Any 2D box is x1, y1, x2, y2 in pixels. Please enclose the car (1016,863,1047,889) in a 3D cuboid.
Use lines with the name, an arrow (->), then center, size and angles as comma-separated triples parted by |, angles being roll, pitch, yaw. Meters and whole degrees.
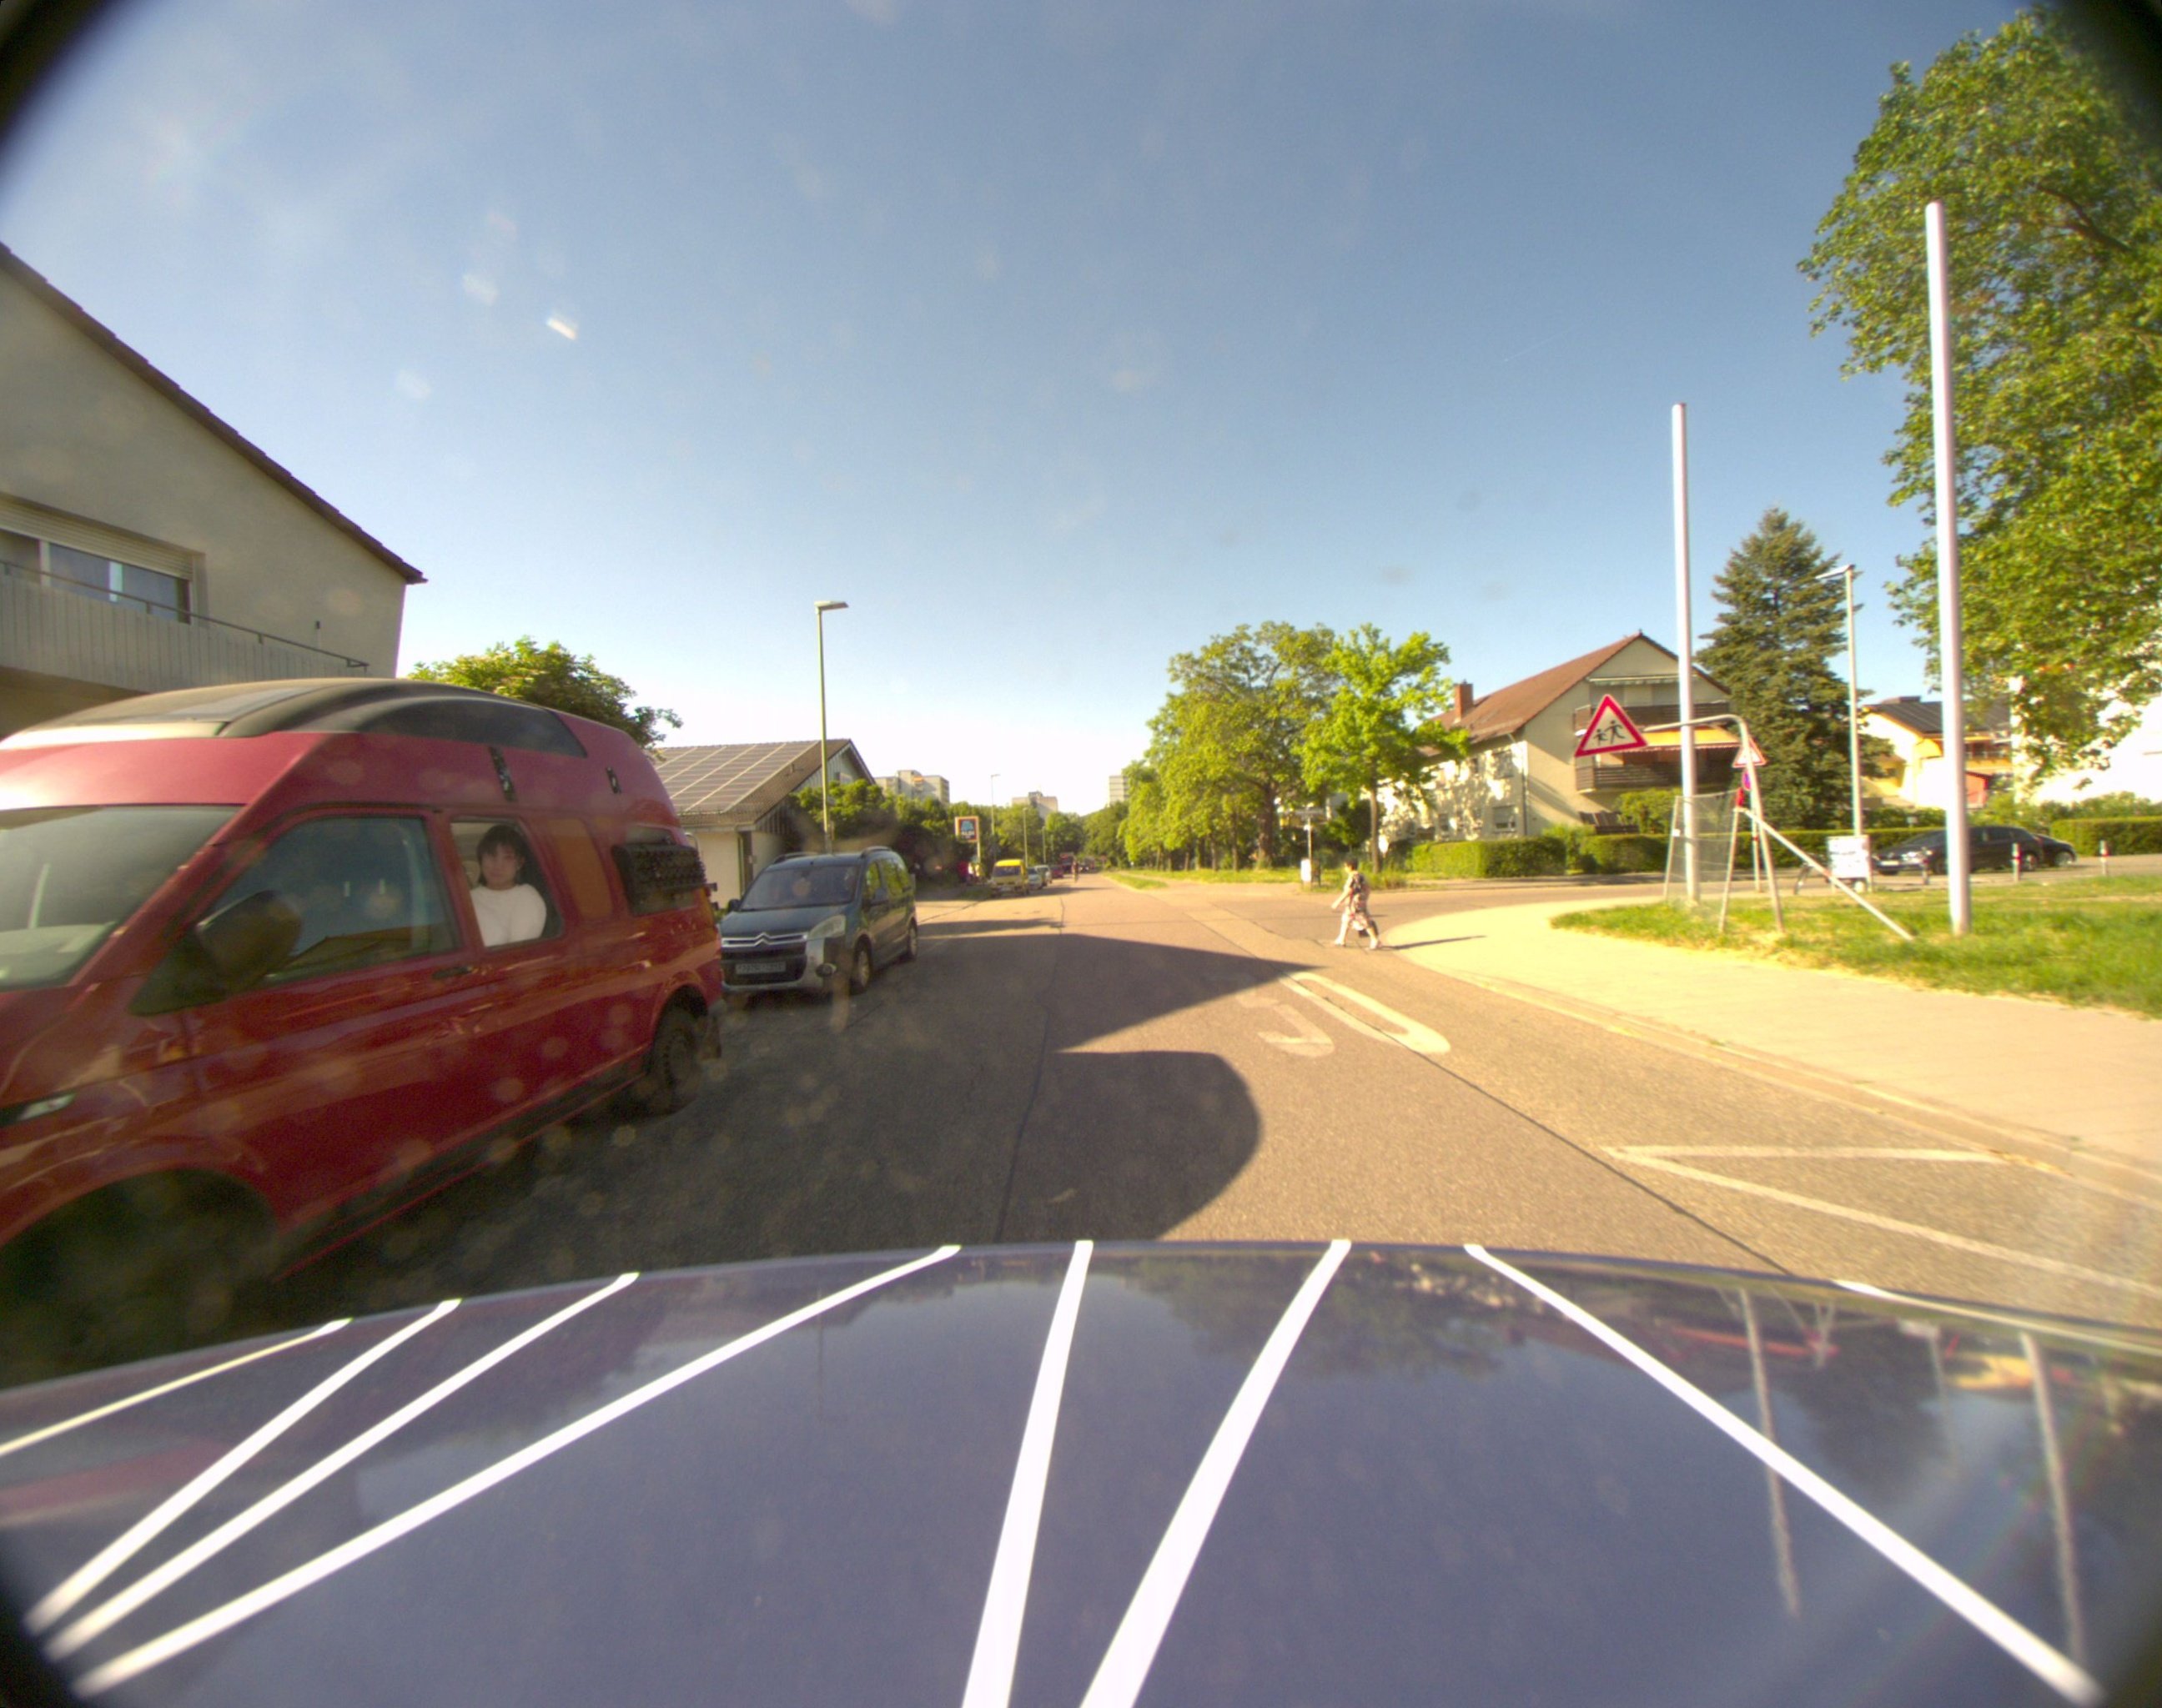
car -> -3.122, 1.397, 48.722 | 1.621, 1.478, 3.981 | -3, 0, 0

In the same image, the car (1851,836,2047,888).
car -> 28.485, 0.243, 25.044 | 4.106, 1.449, 2.115 | -3, 1, -1

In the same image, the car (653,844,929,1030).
car -> -3.514, 0.887, 10.303 | 1.862, 1.837, 4.560 | -4, 0, 0

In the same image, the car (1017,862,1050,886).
car -> -3.350, 1.390, 54.467 | 1.998, 1.587, 4.578 | -3, -1, 1

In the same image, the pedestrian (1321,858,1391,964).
pedestrian -> 4.314, 0.879, 11.898 | 0.834, 1.577, 0.633 | -3, 0, 32

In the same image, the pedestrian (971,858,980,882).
pedestrian -> -7.910, 1.220, 57.184 | 0.541, 1.758, 0.590 | -2, 0, 0

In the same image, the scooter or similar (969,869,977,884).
scooter or similar -> -8.020, 1.661, 56.406 | 0.478, 1.071, 0.841 | -2, 0, 0

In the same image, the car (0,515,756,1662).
car -> -3.542, 0.561, 3.393 | 1.962, 2.629, 5.222 | -3, 0, -2

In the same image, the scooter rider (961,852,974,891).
scooter rider -> -5.974, 0.929, 39.974 | 0.599, 2.002, 0.486 | 1, 0, -5

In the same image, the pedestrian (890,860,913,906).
pedestrian -> -6.739, 1.073, 28.491 | 0.635, 1.679, 0.896 | 1, 0, -2

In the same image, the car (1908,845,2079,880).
car -> 32.348, 0.288, 27.015 | 4.020, 1.026, 1.631 | -3, 0, 1

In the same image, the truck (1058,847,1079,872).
truck -> -2.436, 0.985, 147.614 | 3.602, 4.543, 10.024 | -2, 0, 1

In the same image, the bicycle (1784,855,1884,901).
bicycle -> 16.559, 0.533, 16.733 | 1.599, 0.978, 0.500 | 0, -3, 3

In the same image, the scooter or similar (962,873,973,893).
scooter or similar -> -5.988, 1.519, 40.076 | 0.457, 1.024, 1.049 | 2, 0, -5

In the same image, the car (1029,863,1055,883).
car -> -3.368, 1.600, 66.290 | 1.998, 1.587, 4.578 | -3, -1, 0

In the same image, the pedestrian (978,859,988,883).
pedestrian -> -7.510, 1.304, 58.020 | 0.673, 1.758, 0.589 | -2, 0, -8

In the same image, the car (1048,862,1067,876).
car -> -2.829, 1.782, 92.742 | 1.998, 1.587, 4.578 | -2, 0, 3

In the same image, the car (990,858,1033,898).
car -> -3.351, 1.102, 37.083 | 1.621, 1.766, 3.981 | -3, 0, 0

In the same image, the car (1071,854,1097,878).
car -> 0.193, 1.043, 68.107 | 1.965, 1.908, 4.576 | -3, 1, -3
